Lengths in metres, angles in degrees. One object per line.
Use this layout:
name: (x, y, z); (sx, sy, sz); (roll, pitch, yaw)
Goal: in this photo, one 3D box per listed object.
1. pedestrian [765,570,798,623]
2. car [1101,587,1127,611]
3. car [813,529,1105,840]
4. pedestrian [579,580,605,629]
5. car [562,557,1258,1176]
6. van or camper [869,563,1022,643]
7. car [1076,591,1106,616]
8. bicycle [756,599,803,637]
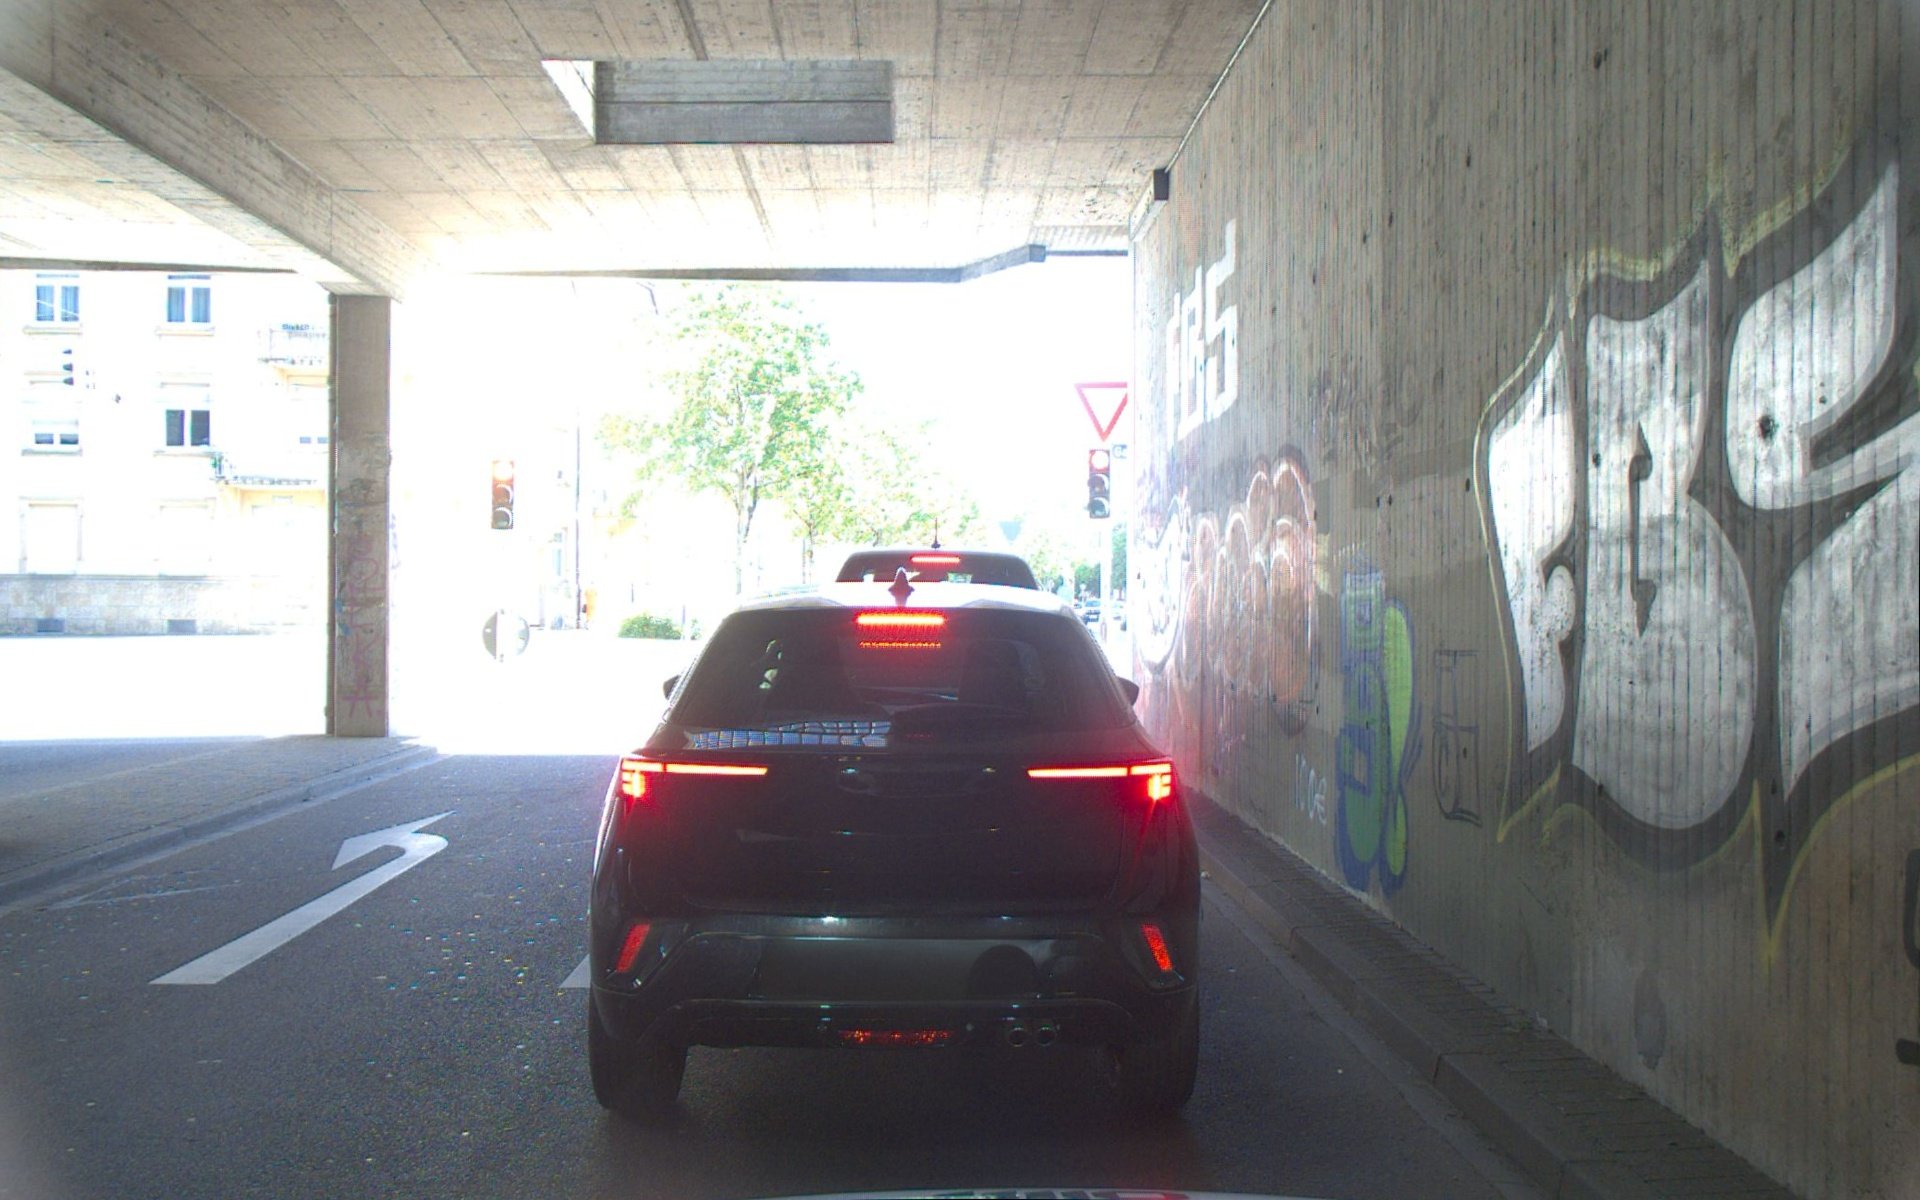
pedestrian: (-5.543, -0.095, 51.329); (0.720, 1.612, 0.891); (1, -1, 15)
car: (11.022, -0.093, 118.048); (1.550, 1.668, 3.809); (0, 0, 9)
car: (-0.026, 0.505, 12.020); (1.749, 1.865, 3.960); (1, 0, -1)
pedestrian: (-13.095, 0.152, 58.882); (0.609, 1.734, 0.724); (1, -1, 10)
car: (-0.138, 0.660, 6.146); (1.718, 1.525, 4.000); (1, 0, -1)
van or camper: (-0.351, 0.081, 43.602); (3.795, 2.049, 2.002); (0, 0, 7)
car: (7.970, 0.223, 100.418); (1.564, 1.477, 3.798); (0, 0, 9)
bicycle: (-5.569, 0.551, 51.244); (0.721, 1.150, 2.027); (0, 0, 16)
